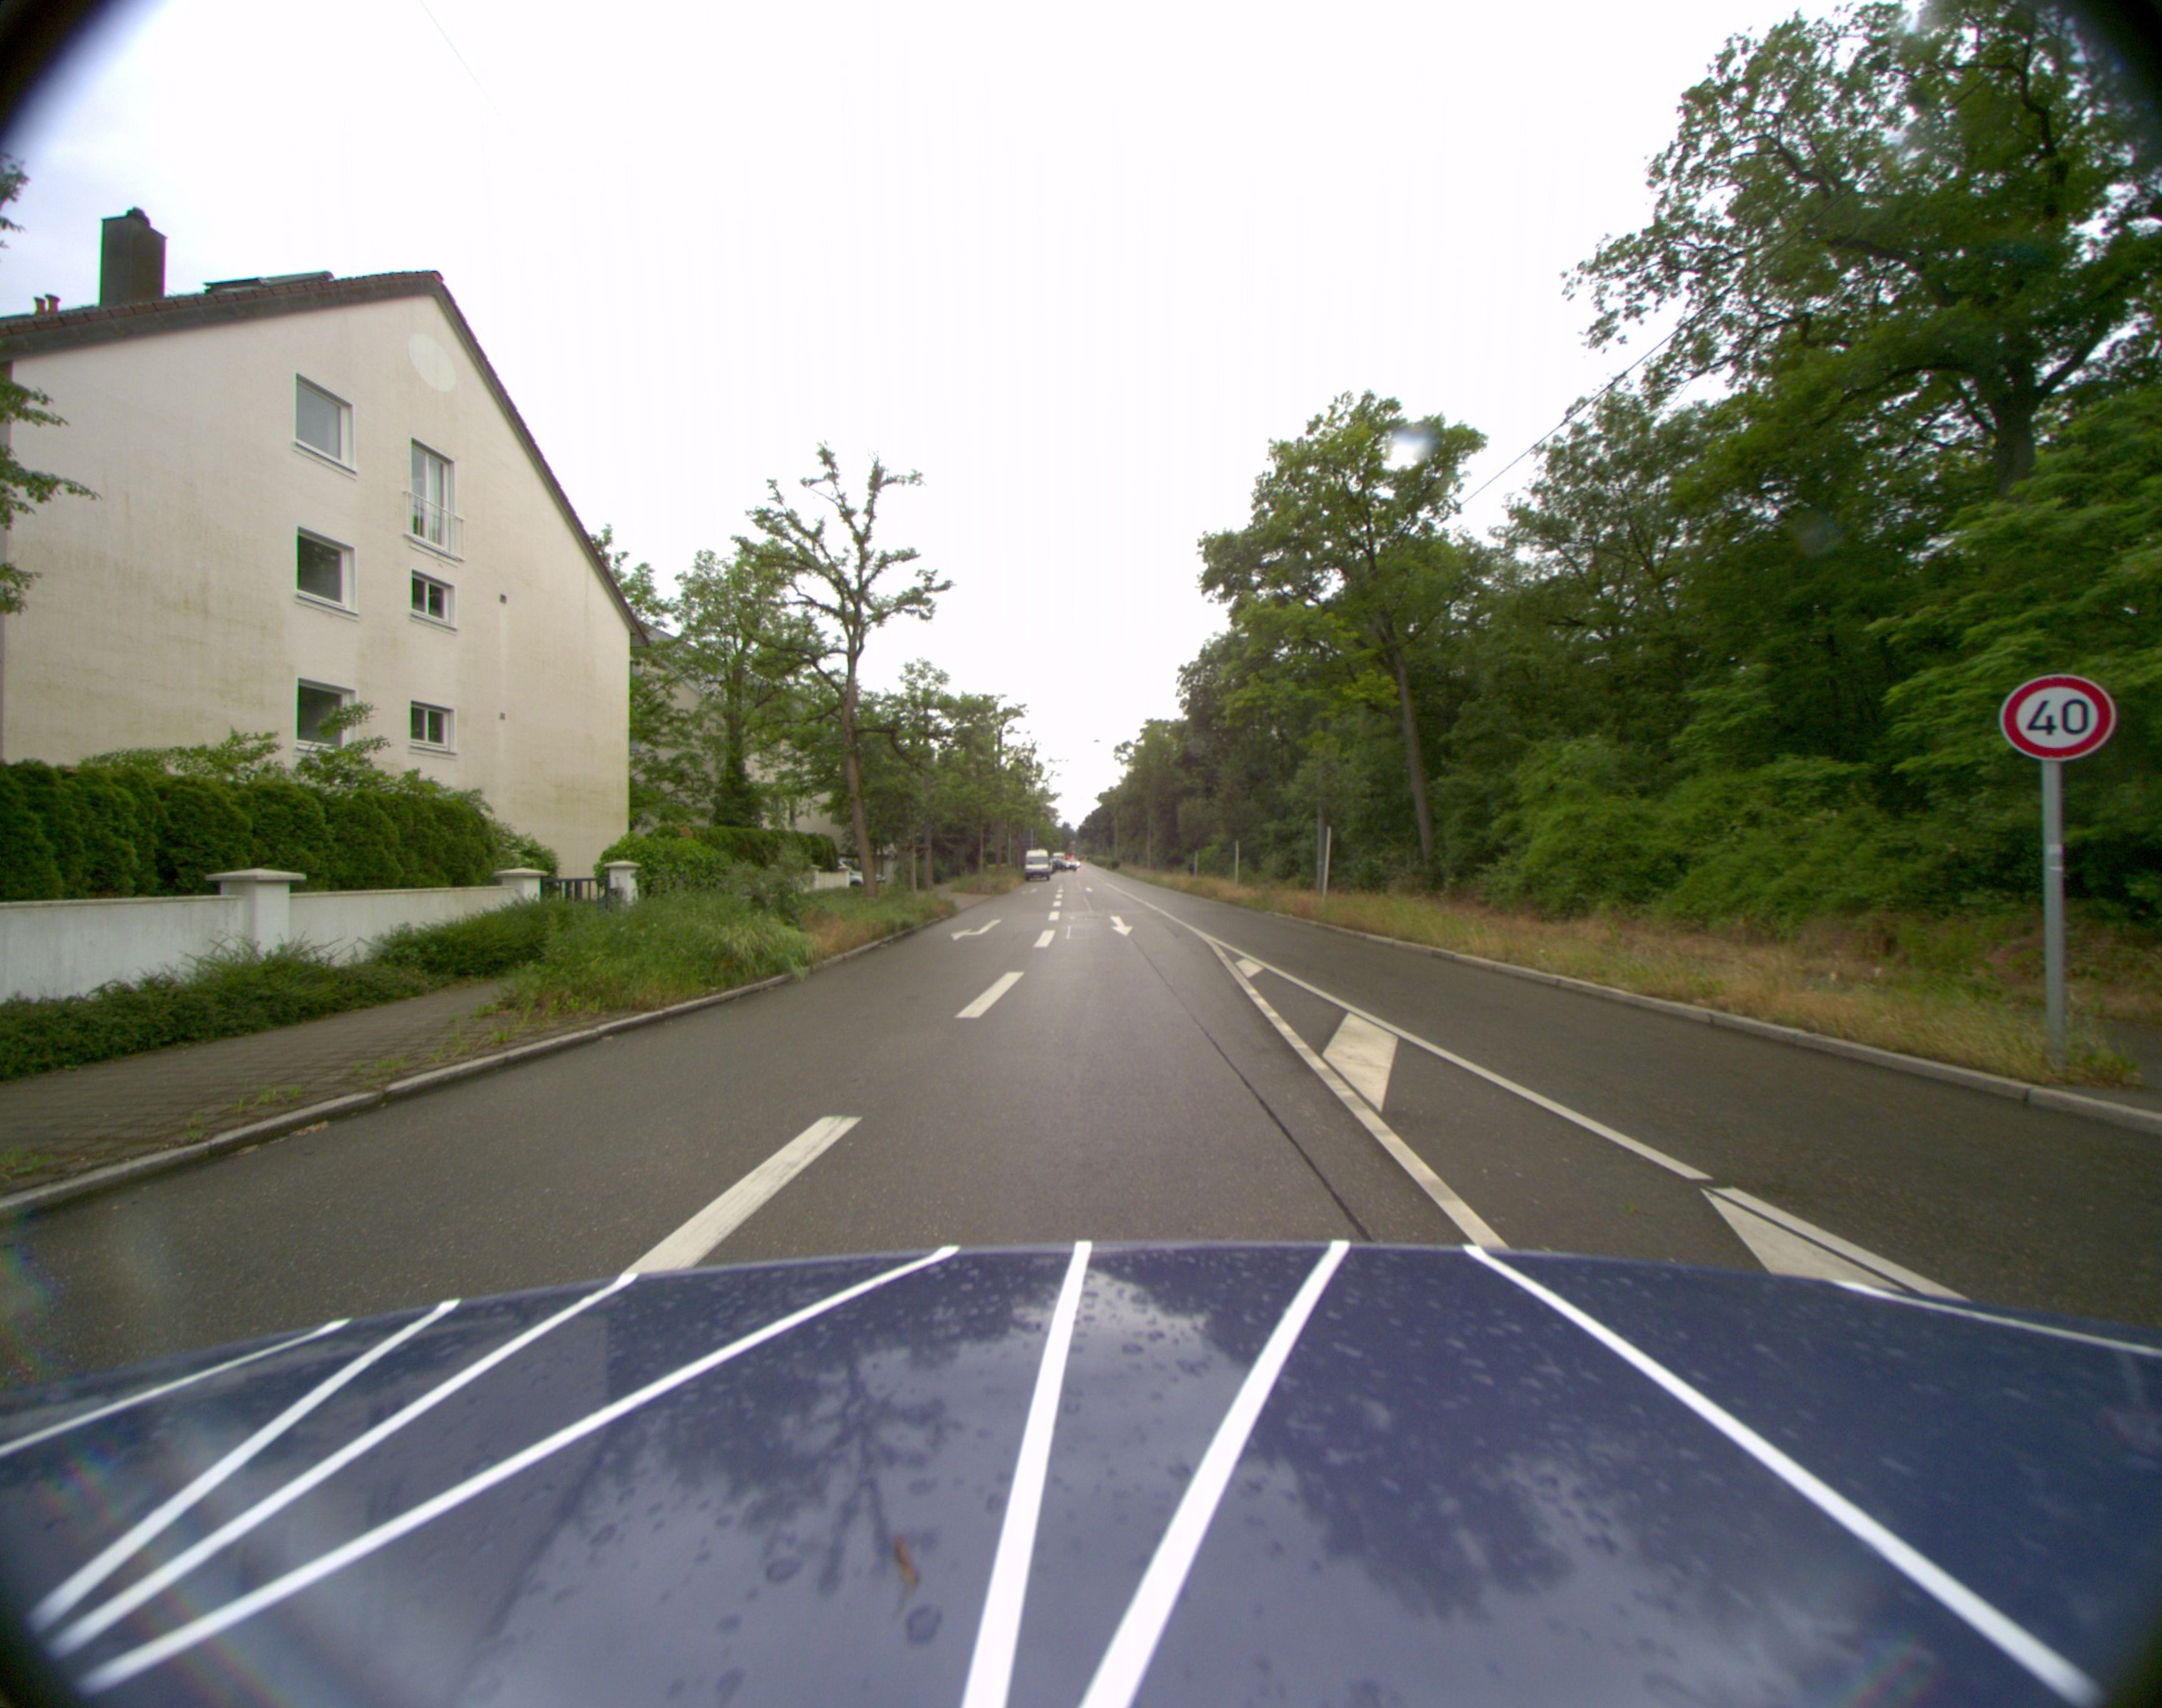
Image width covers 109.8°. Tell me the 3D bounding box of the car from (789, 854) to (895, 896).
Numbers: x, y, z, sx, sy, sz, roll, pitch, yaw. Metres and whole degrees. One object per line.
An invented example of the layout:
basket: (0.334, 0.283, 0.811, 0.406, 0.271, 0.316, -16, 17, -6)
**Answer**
car: (-11.249, 0.974, 35.860, 4.312, 1.807, 1.876, -1, 0, 10)

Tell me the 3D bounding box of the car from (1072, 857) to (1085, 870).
car: (-0.452, 1.564, 126.142, 1.998, 2.002, 3.999, -1, 1, 1)

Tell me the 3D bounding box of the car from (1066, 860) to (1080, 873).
car: (-1.083, 1.577, 98.104, 1.622, 1.459, 4.409, -2, 0, -2)

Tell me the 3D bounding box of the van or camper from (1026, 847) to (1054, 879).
van or camper: (-3.342, 0.712, 63.502, 2.042, 2.465, 5.637, -3, 0, -1)

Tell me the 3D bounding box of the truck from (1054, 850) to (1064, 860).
truck: (-5.050, 0.269, 173.915, 2.230, 2.321, 5.112, 1, 0, -2)

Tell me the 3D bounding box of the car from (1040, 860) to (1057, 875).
car: (-3.436, 1.416, 80.900, 1.576, 1.463, 3.764, -2, 0, -1)

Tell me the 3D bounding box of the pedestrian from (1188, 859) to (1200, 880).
pedestrian: (8.749, 1.176, 58.719, 0.783, 1.598, 0.732, 0, 0, -2)
